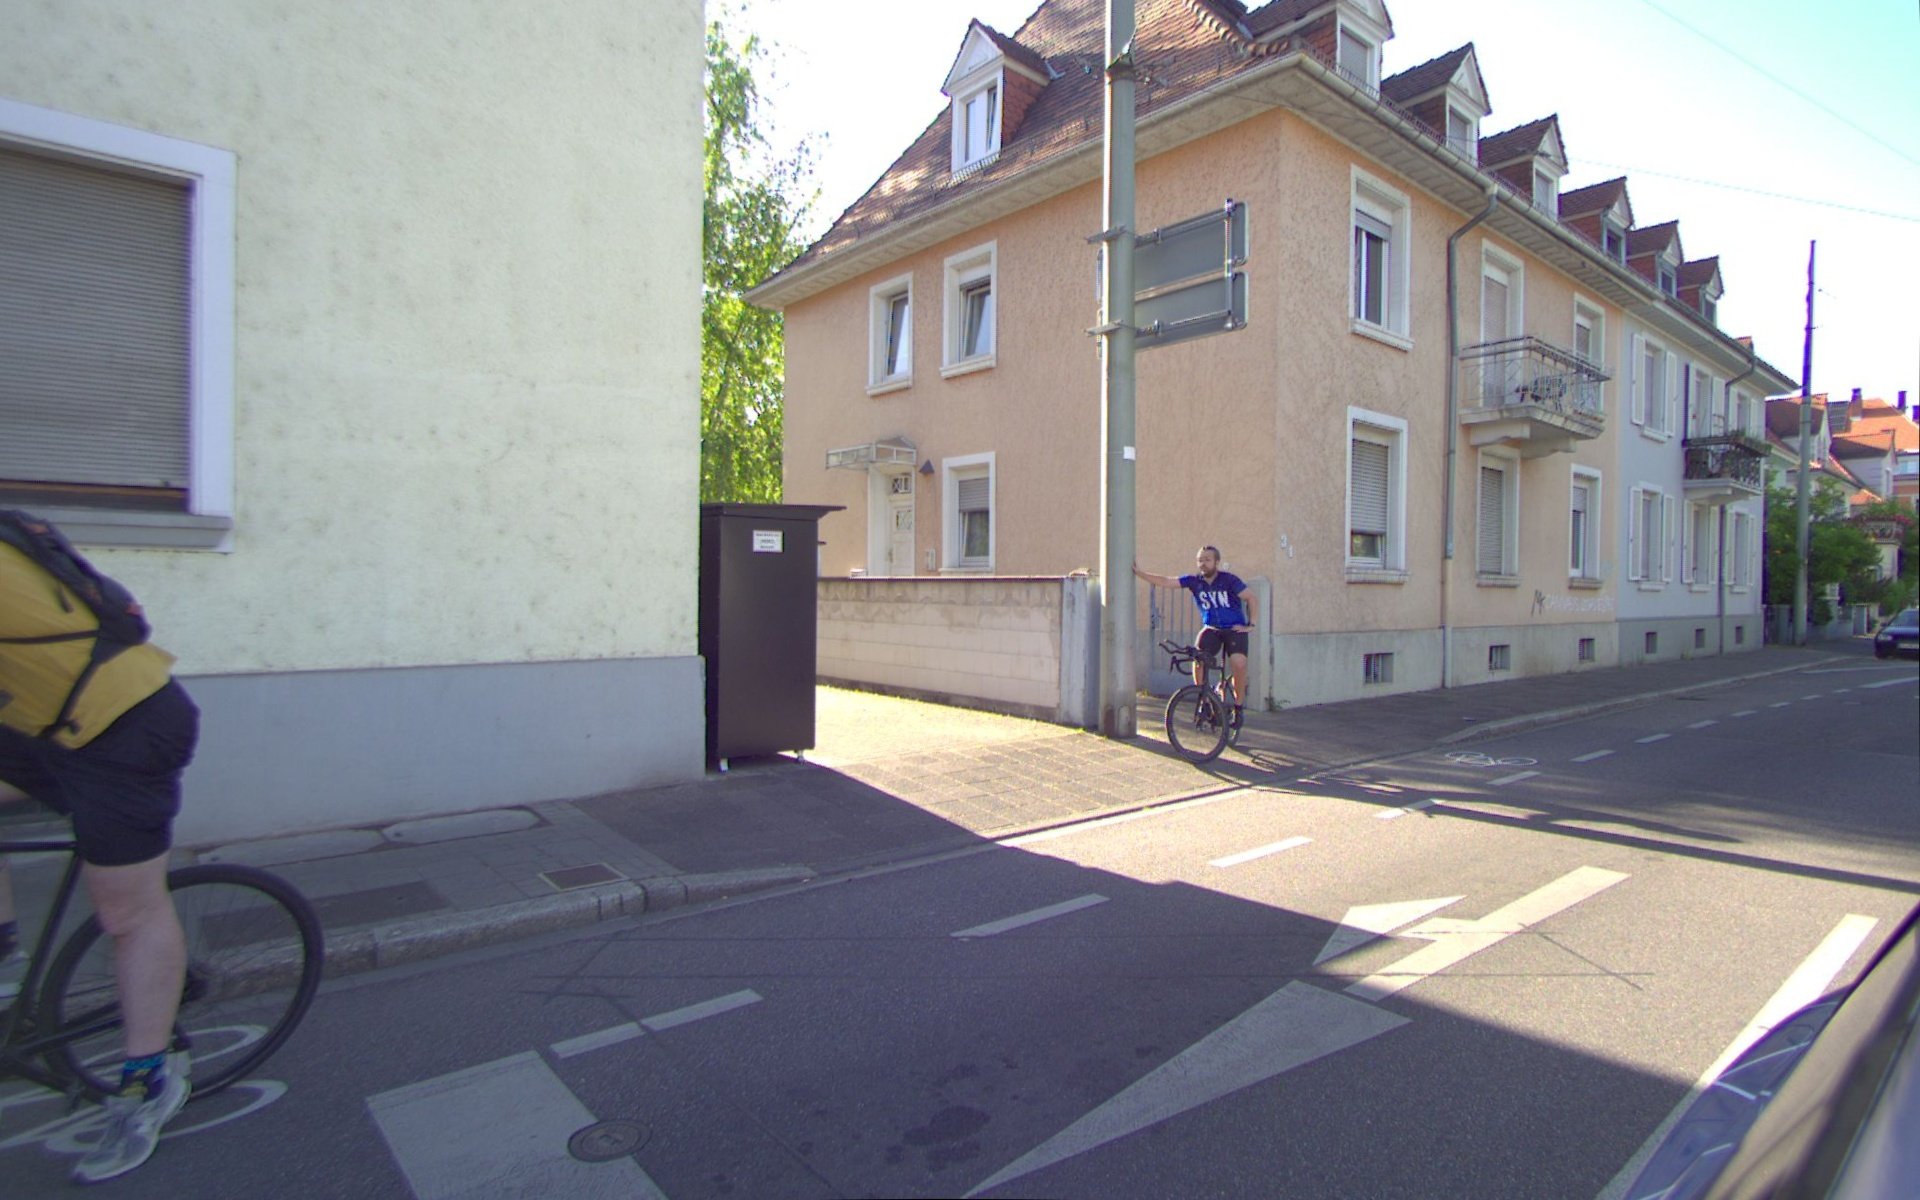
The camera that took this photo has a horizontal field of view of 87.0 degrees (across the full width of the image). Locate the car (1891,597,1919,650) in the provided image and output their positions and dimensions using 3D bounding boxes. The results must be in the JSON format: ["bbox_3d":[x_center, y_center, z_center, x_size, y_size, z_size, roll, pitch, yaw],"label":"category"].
[{"bbox_3d":[26.691,0.625,27.344,3.796,1.382,1.648,0,1,-38],"label":"car"}]

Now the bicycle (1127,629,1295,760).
[{"bbox_3d":[2.310,0.815,9.209,1.669,1.003,0.572,0,4,-41],"label":"bicycle"}]

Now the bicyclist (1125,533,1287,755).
[{"bbox_3d":[2.277,0.358,9.434,0.831,1.887,1.076,0,4,-40],"label":"bicyclist"}]

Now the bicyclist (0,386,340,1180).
[{"bbox_3d":[-2.307,0.419,2.699,1.018,1.840,0.653,0,1,-41],"label":"bicyclist"}]

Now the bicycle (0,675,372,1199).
[{"bbox_3d":[-2.483,0.842,2.534,1.669,1.180,0.572,0,1,-41],"label":"bicycle"}]
